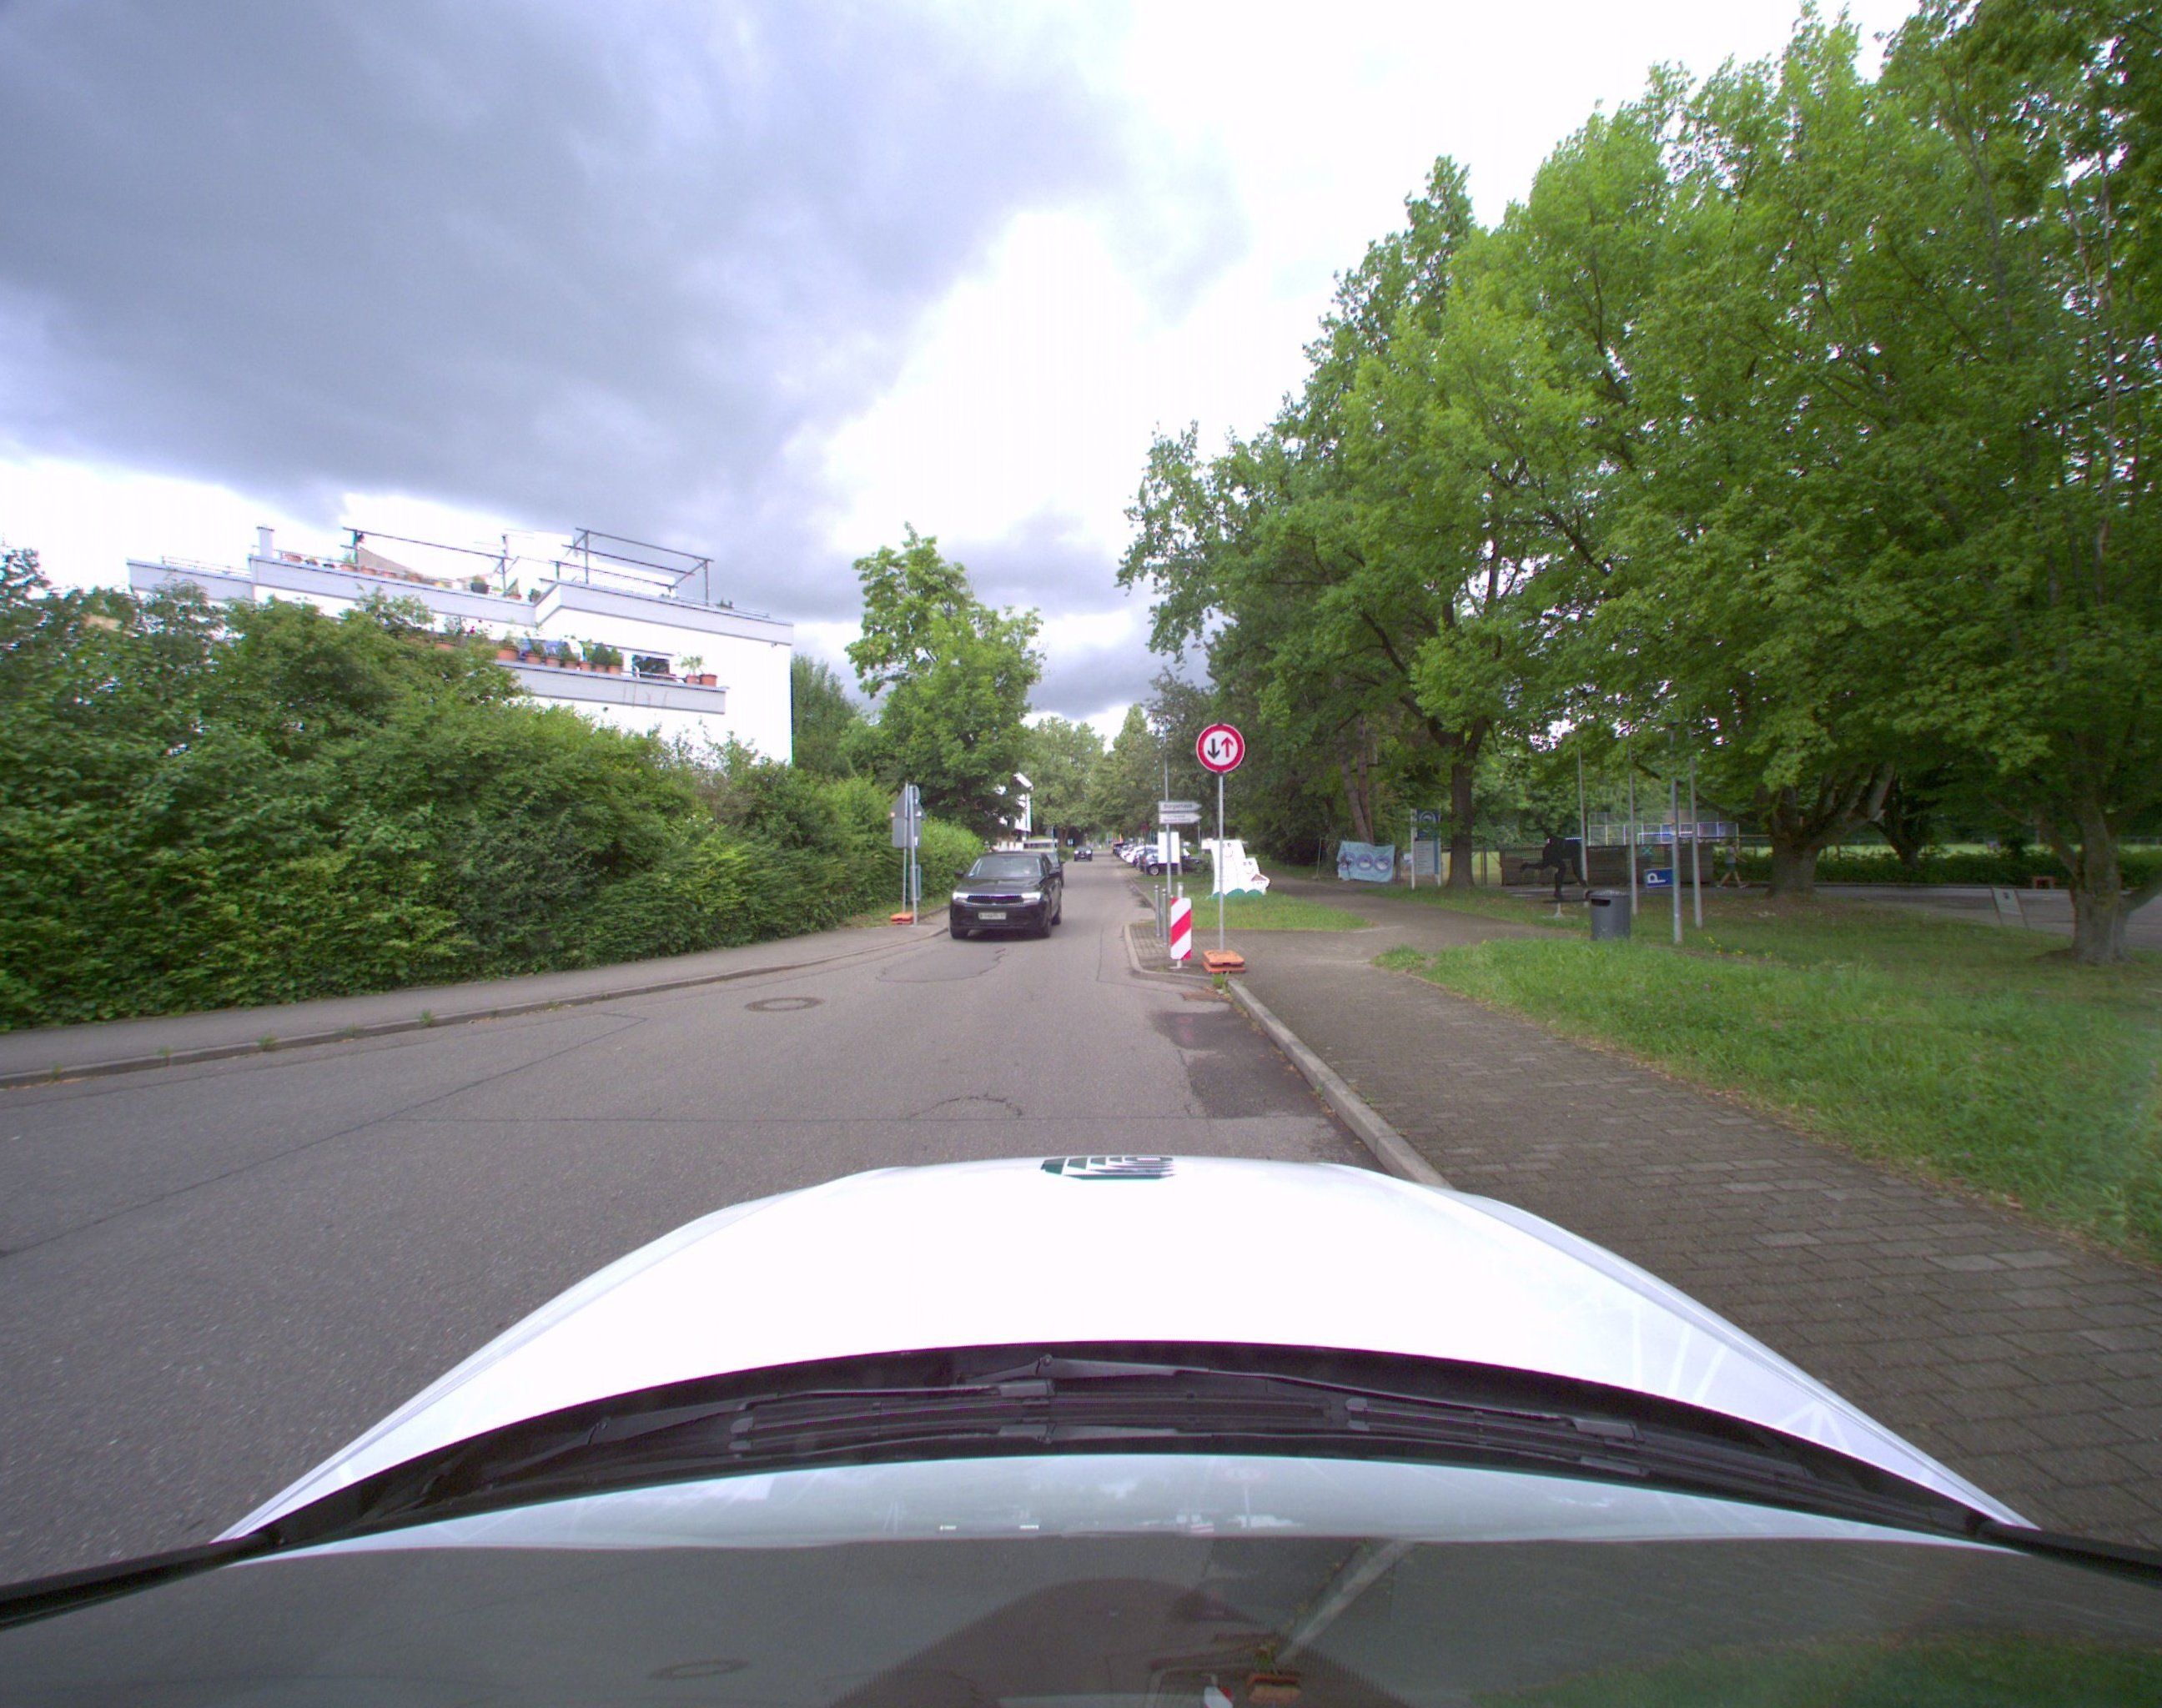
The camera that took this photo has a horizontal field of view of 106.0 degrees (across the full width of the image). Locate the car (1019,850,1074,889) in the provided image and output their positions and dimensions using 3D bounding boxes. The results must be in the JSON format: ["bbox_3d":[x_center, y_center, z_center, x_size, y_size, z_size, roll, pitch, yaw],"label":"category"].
[{"bbox_3d":[-1.483,0.630,36.341,1.794,1.591,4.304,-1,0,6],"label":"car"}]

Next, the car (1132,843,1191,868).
[{"bbox_3d":[5.881,0.114,59.899,4.053,1.488,1.821,-5,0,-2],"label":"car"}]

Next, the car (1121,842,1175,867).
[{"bbox_3d":[5.318,0.028,65.155,4.053,1.687,1.821,-5,0,-2],"label":"car"}]

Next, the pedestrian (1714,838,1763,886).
[{"bbox_3d":[23.609,0.285,29.279,1.137,1.674,0.798,-3,-2,27],"label":"pedestrian"}]

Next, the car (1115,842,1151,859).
[{"bbox_3d":[6.342,-0.460,99.611,4.053,1.687,1.821,-5,0,-2],"label":"car"}]

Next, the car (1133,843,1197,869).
[{"bbox_3d":[5.636,0.141,54.938,4.049,1.568,1.823,-3,0,0],"label":"car"}]

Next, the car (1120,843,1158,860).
[{"bbox_3d":[6.730,-0.295,94.424,4.053,1.687,1.821,-5,0,-2],"label":"car"}]

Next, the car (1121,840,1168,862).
[{"bbox_3d":[5.884,-0.245,75.653,4.053,1.687,1.821,-5,0,-2],"label":"car"}]

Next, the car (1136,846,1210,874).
[{"bbox_3d":[5.299,0.373,47.361,4.049,1.434,2.000,-3,-1,0],"label":"car"}]

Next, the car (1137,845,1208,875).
[{"bbox_3d":[5.531,0.369,49.621,4.049,1.568,1.822,-3,-1,0],"label":"car"}]

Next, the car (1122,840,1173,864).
[{"bbox_3d":[5.608,-0.160,69.011,4.053,1.687,1.821,-5,0,-2],"label":"car"}]

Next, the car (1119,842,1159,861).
[{"bbox_3d":[6.294,-0.303,88.617,4.053,1.687,1.821,-5,0,-2],"label":"car"}]

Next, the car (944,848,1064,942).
[{"bbox_3d":[-1.383,0.701,16.297,1.796,1.591,4.299,-1,0,2],"label":"car"}]

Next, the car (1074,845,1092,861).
[{"bbox_3d":[0.244,-0.109,93.423,1.962,1.747,4.339,-1,0,1],"label":"car"}]
